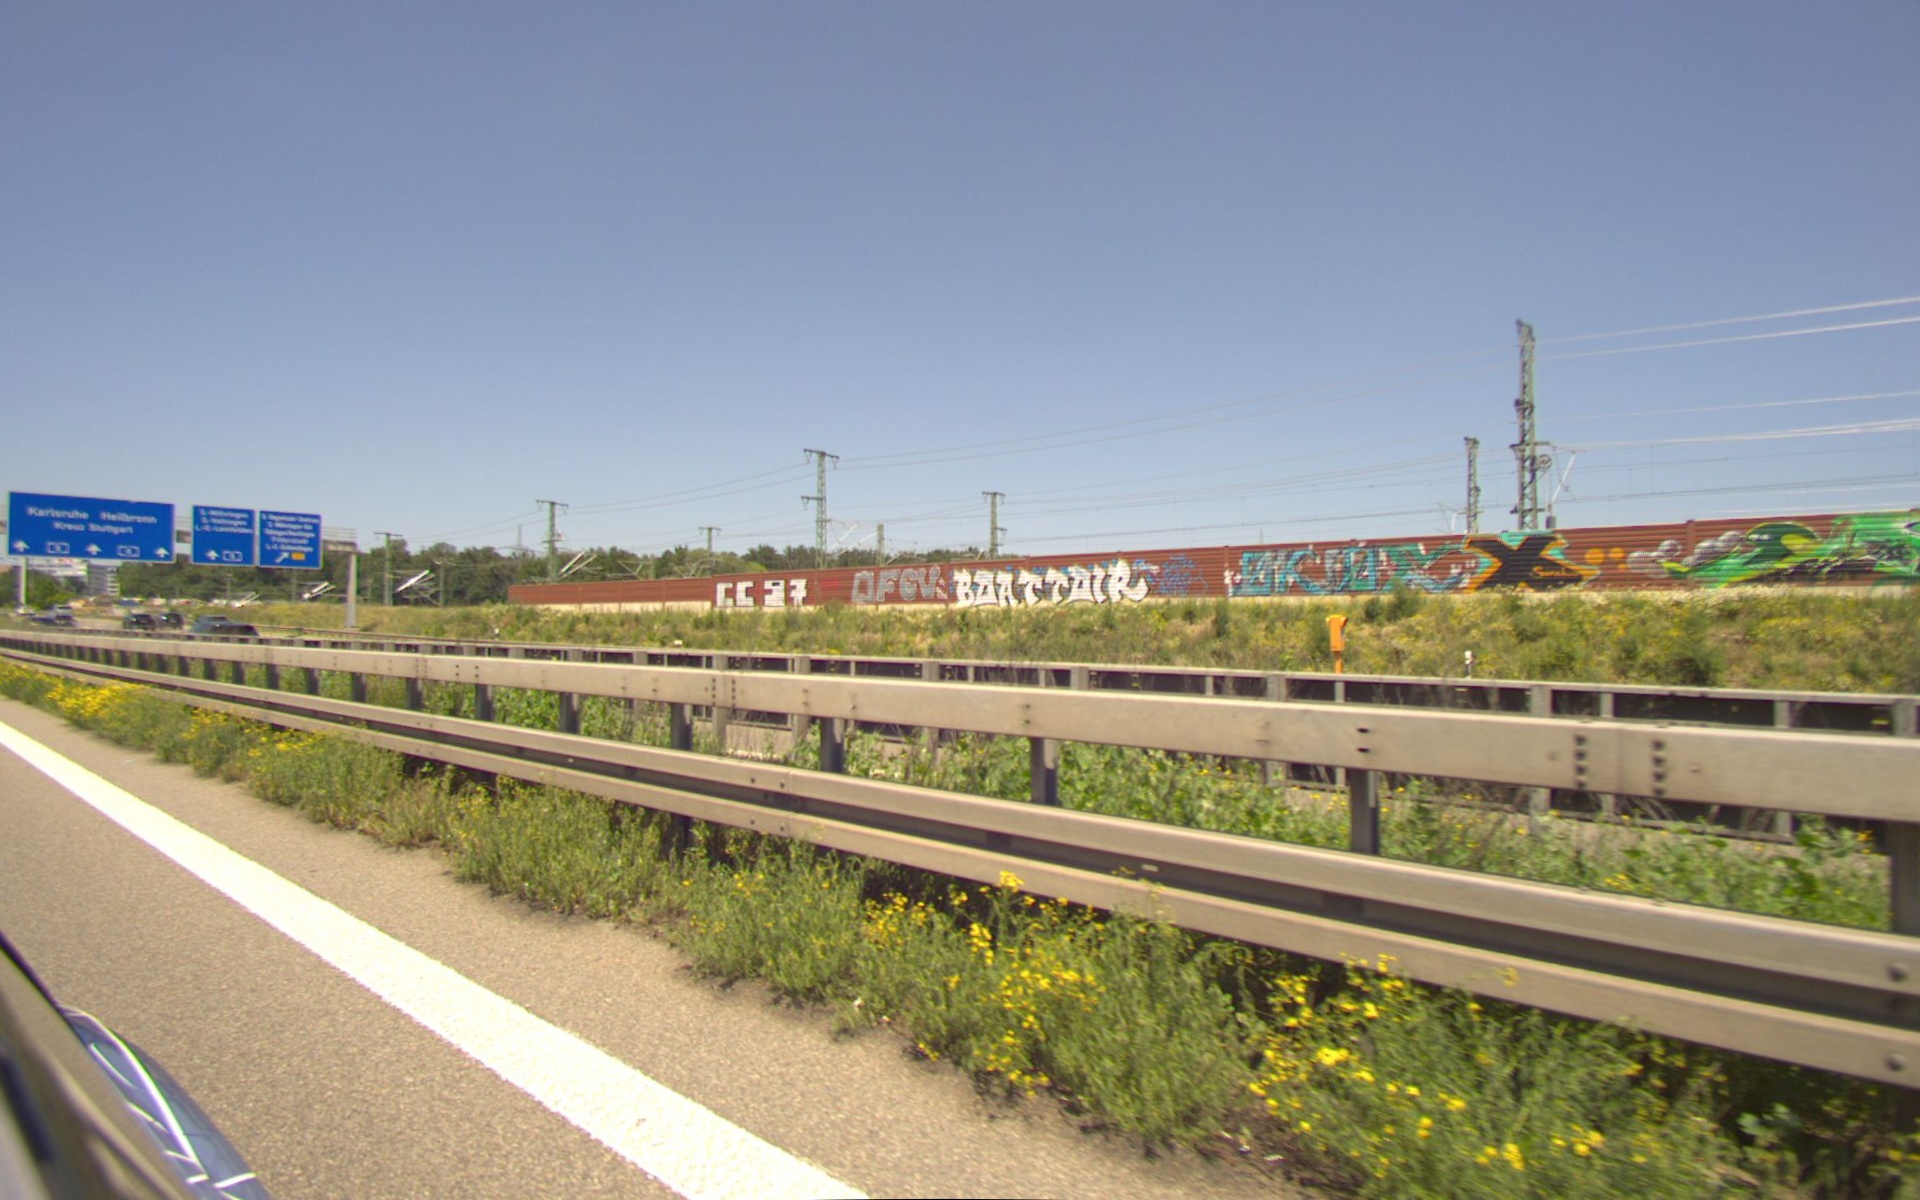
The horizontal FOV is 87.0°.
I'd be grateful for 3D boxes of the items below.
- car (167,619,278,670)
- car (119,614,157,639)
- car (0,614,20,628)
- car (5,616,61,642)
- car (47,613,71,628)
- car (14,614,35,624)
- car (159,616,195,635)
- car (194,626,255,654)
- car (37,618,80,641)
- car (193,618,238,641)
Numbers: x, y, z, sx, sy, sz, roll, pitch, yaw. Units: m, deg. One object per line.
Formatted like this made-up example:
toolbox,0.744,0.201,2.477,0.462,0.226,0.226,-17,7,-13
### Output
car,-23.662,1.378,32.407,4.383,1.475,1.973,-1,-1,41
car,-73.822,2.343,90.869,4.308,2.029,1.973,0,1,42
car,-96.282,2.101,101.836,4.508,1.405,1.849,-1,-1,39
car,-55.118,1.716,60.134,4.153,1.498,1.972,-1,-3,41
car,-123.781,2.808,138.987,4.976,1.900,1.972,-1,0,42
car,-147.898,2.996,159.984,4.475,1.588,1.972,0,0,42
car,-76.727,2.477,99.162,4.512,1.739,1.972,-1,0,42
car,-42.257,2.293,58.131,3.930,1.498,1.972,-1,-3,41
car,-68.878,2.272,77.289,4.186,1.708,1.972,-1,-2,41
car,-58.623,2.311,79.674,4.511,1.739,1.973,-1,0,41
